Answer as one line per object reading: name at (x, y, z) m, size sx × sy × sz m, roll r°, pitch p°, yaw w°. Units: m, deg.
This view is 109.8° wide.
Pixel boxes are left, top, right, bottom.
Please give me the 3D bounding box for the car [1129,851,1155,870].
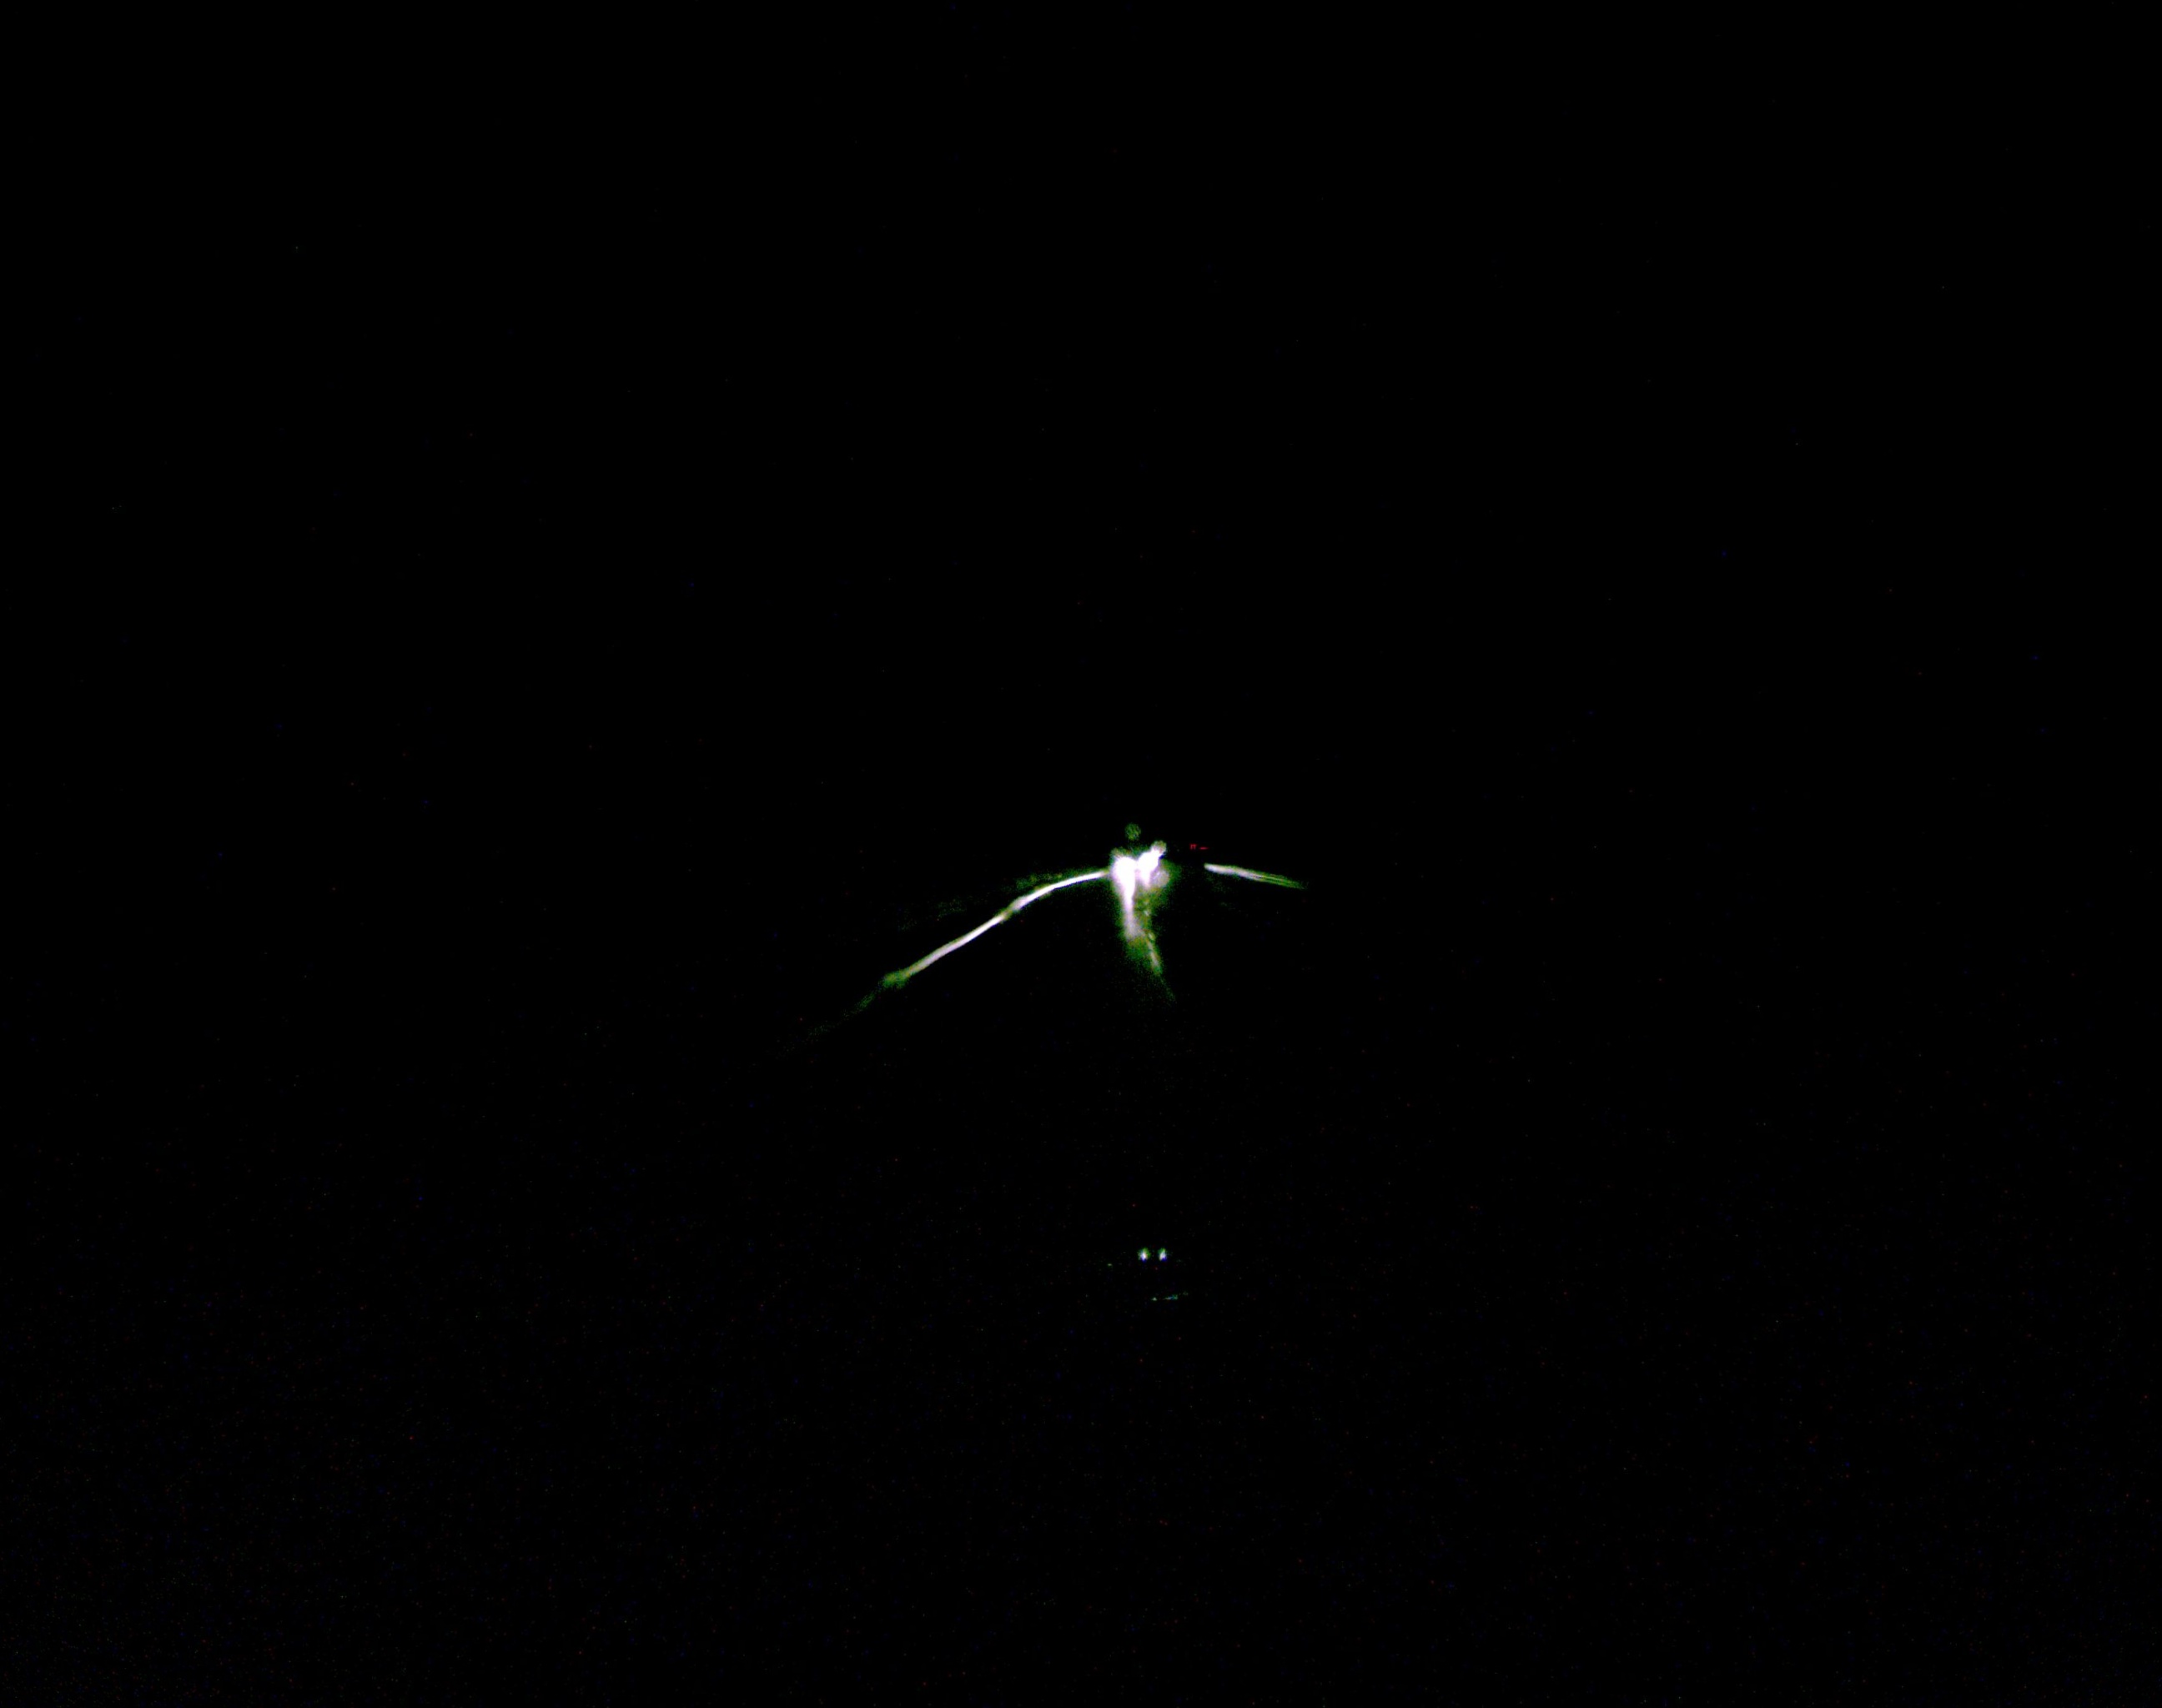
car at (5.154, 0.549, 64.148) m, size 1.775 × 1.444 × 4.139 m, roll -3°, pitch 0°, yaw 10°
